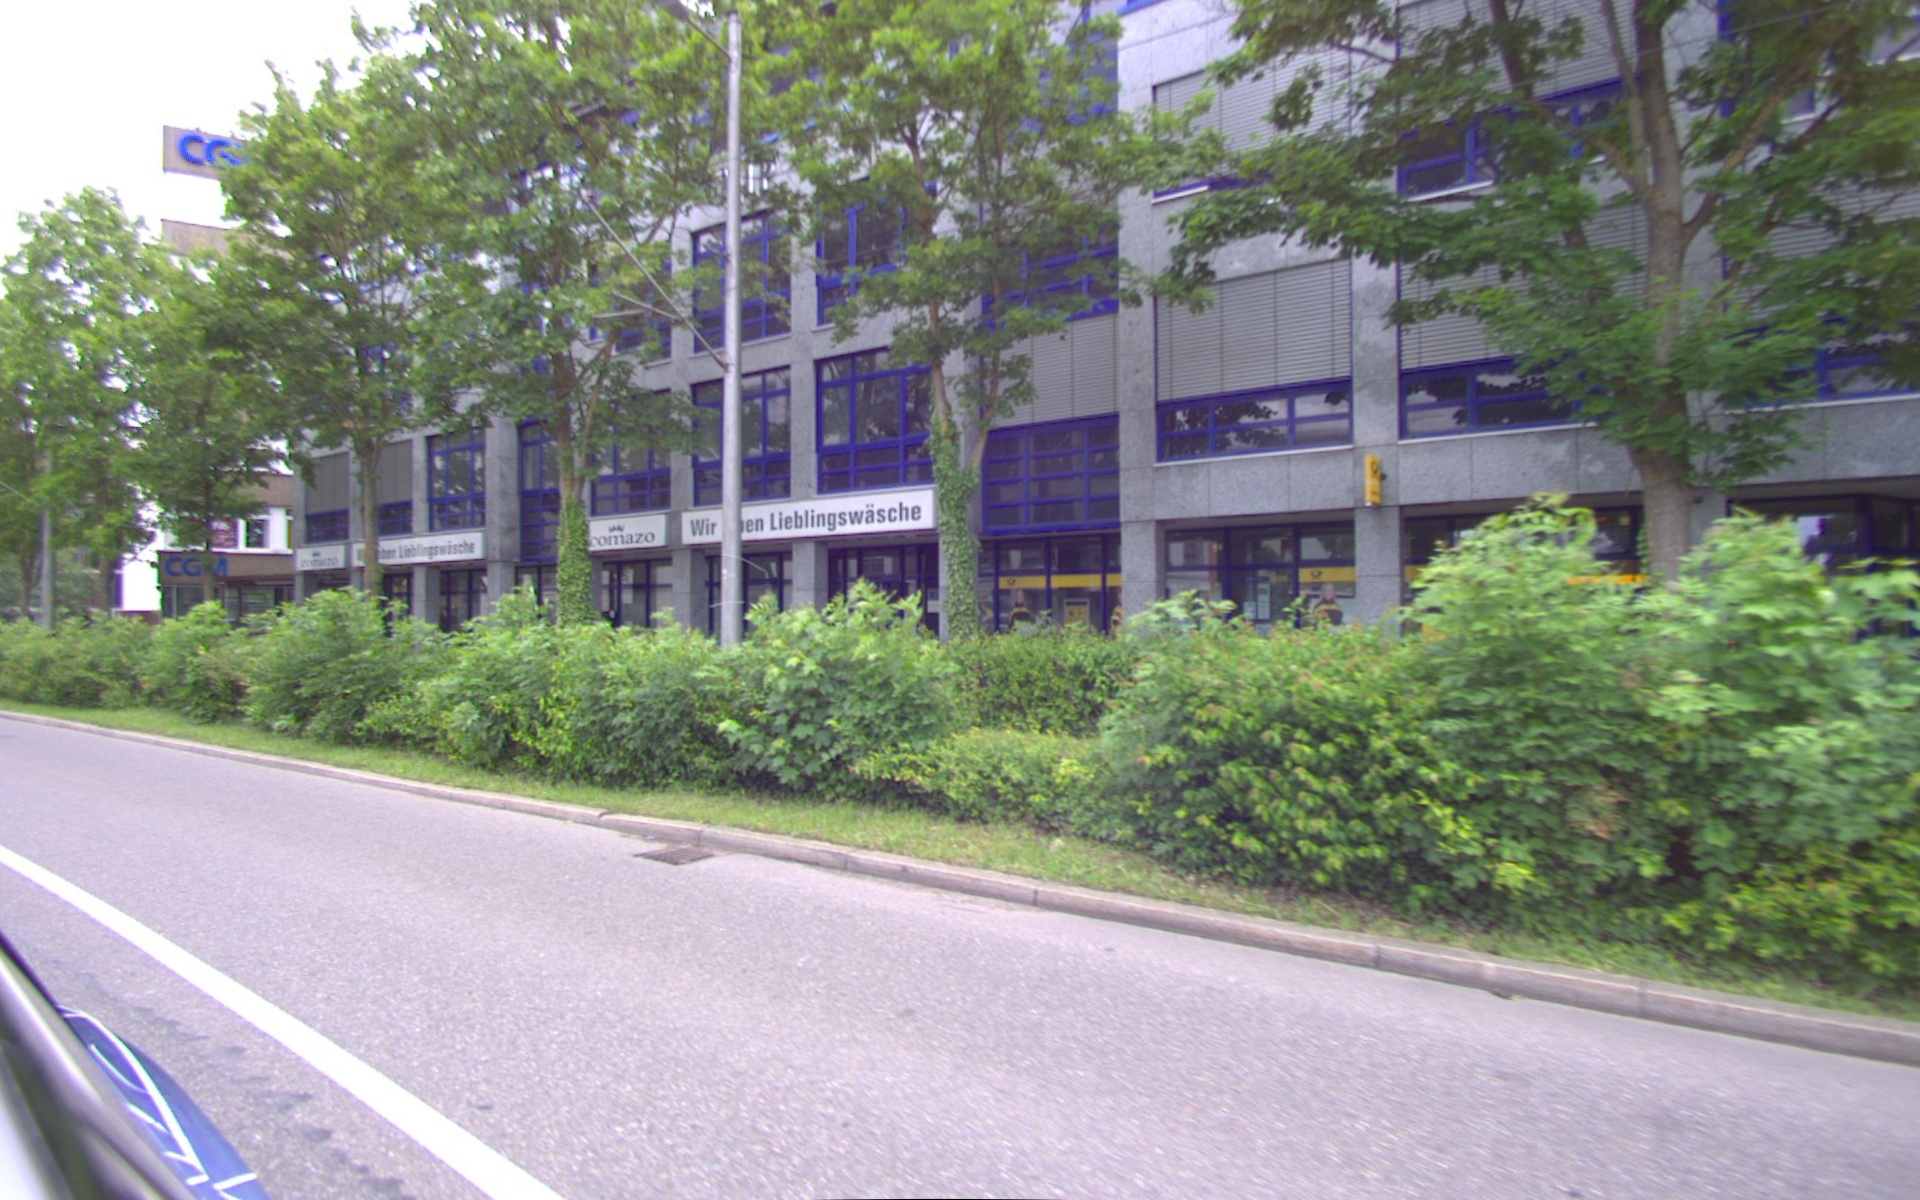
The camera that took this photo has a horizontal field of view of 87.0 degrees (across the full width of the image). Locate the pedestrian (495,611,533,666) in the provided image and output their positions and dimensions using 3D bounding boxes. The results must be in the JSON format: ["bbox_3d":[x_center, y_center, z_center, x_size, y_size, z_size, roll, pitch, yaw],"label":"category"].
[{"bbox_3d":[-12.392,1.066,28.132,0.677,1.493,0.691,-1,0,34],"label":"pedestrian"}]

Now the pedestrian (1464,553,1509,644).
[{"bbox_3d":[7.951,-0.023,15.282,0.556,1.344,0.362,-2,1,30],"label":"pedestrian"}]
